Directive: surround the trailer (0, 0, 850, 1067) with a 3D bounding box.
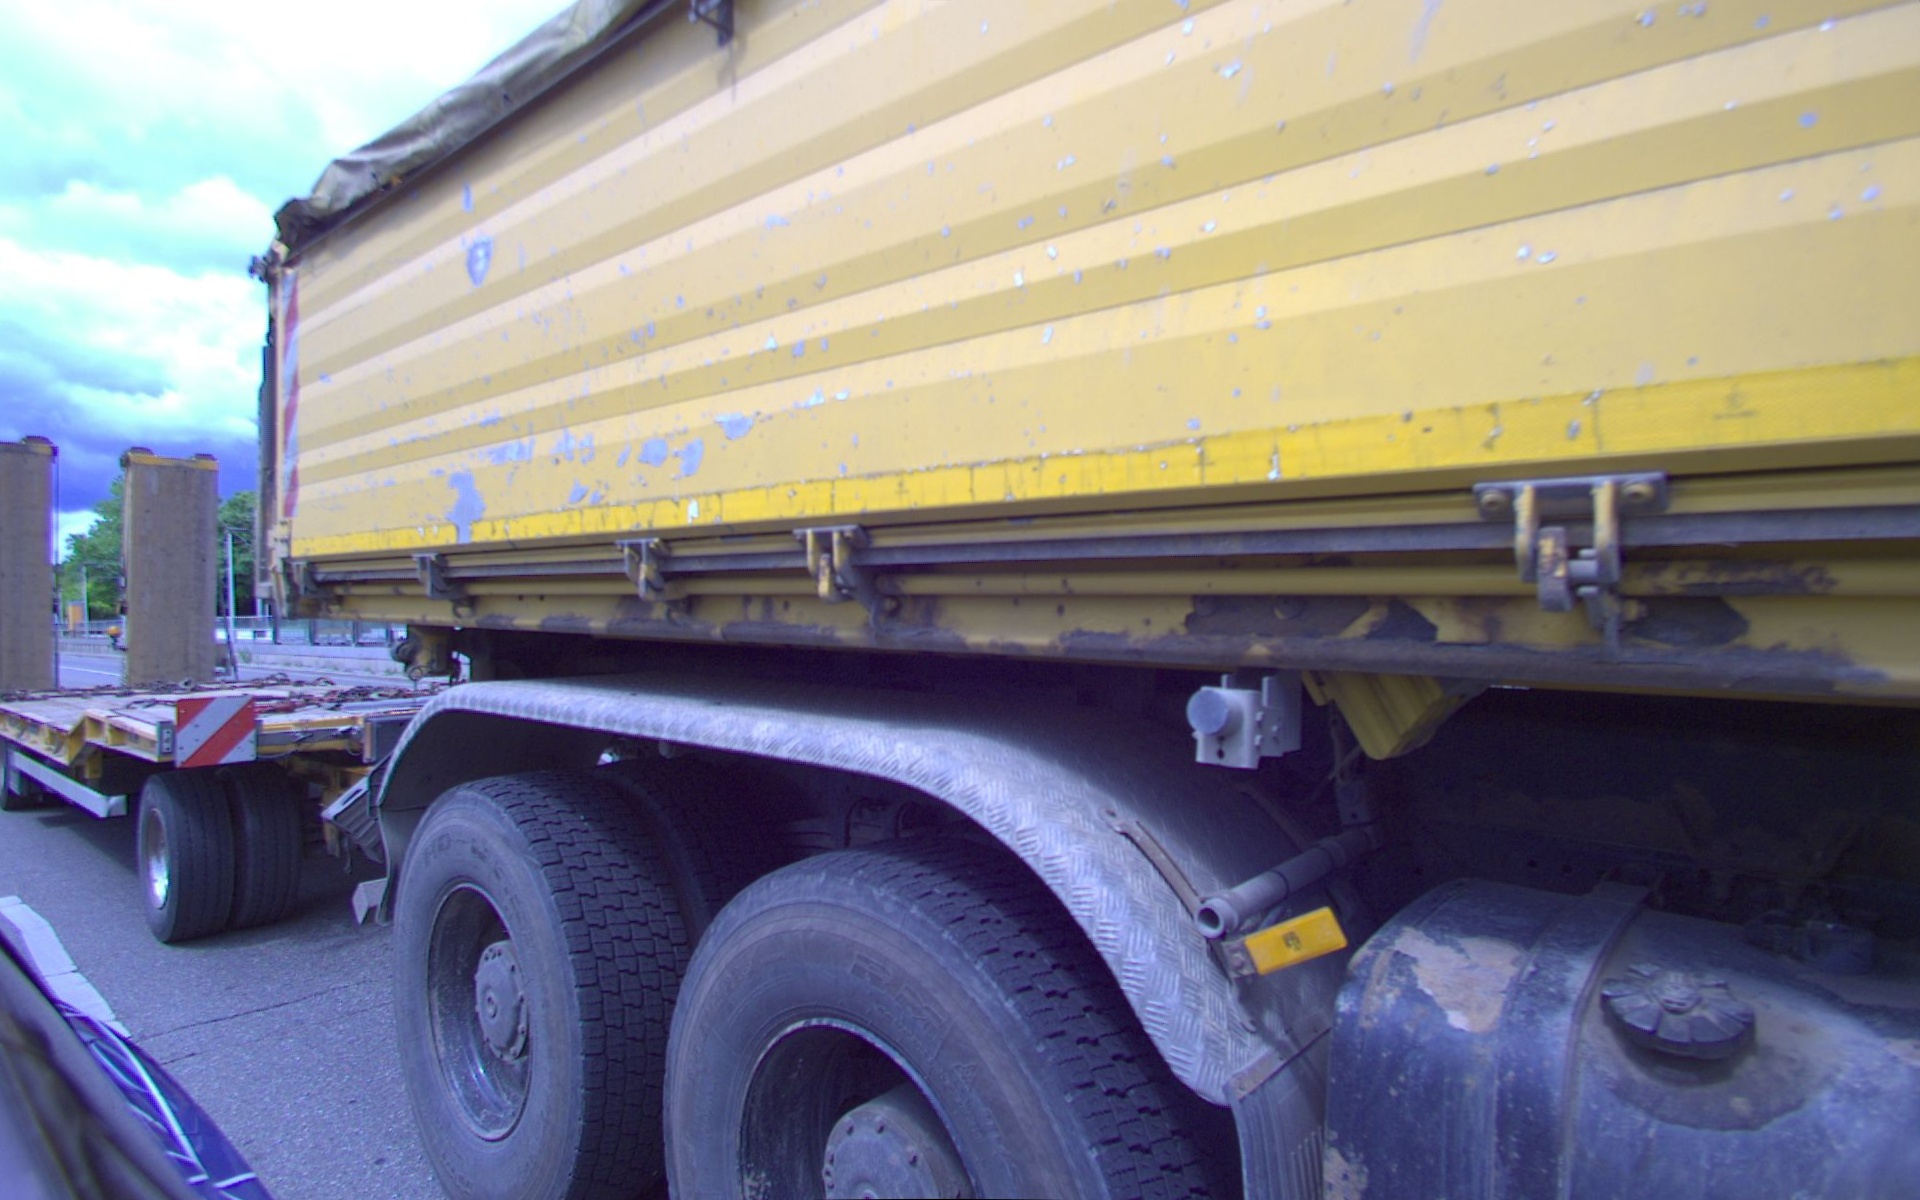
[{"bbox_3d":[-5.777,-0.241,7.997,10.957,3.726,3.018,-2,-1,40],"label":"trailer"}]

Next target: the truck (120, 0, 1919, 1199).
[{"bbox_3d":[1.259,-0.300,1.920,7.999,3.420,3.019,-2,-1,40],"label":"truck"}]
